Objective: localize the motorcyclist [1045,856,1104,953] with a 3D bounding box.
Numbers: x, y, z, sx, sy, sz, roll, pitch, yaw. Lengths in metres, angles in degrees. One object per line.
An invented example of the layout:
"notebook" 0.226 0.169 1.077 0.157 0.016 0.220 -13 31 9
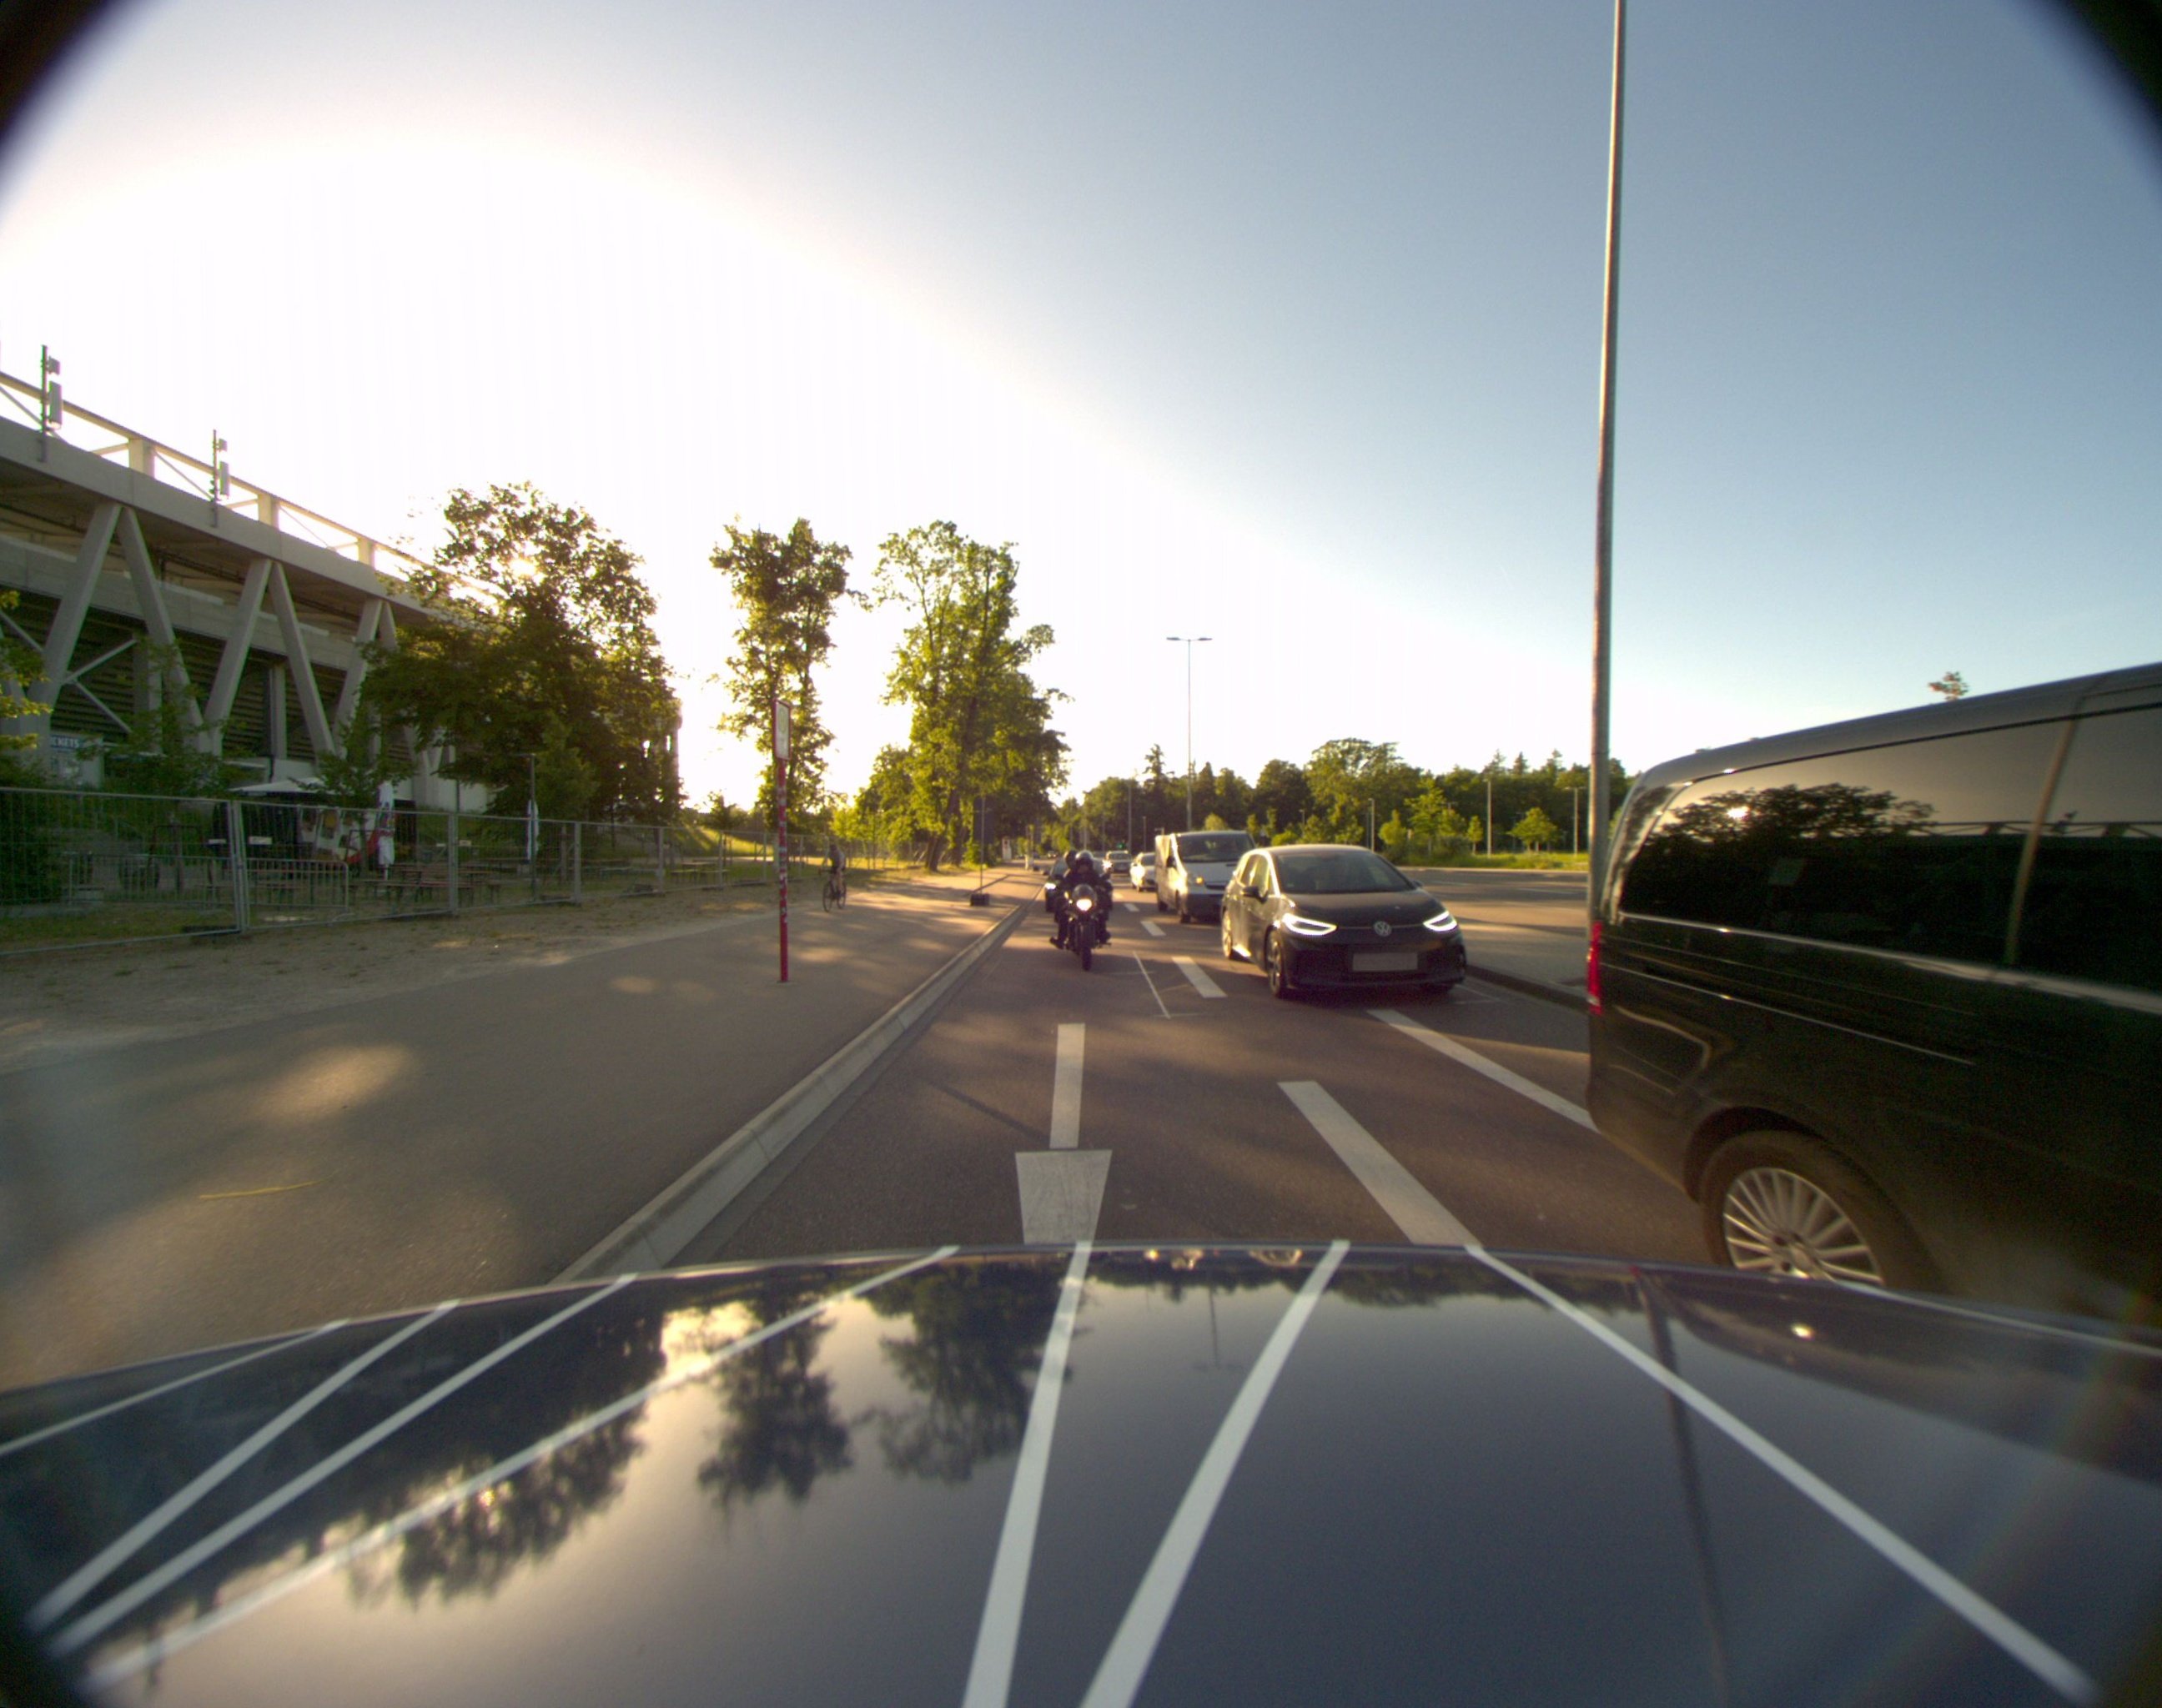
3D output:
"motorcyclist" -0.093 0.725 11.092 0.822 1.367 0.476 -1 1 0

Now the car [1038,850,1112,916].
"car" -0.178 0.766 22.371 1.883 1.629 5.048 -3 0 -1

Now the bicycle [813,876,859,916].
"bicycle" -5.975 1.007 18.621 0.481 0.854 1.909 0 1 1

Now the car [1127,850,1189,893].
"car" 2.998 0.646 30.576 1.883 1.515 5.048 -3 0 -1

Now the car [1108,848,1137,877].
"car" 2.577 0.477 48.023 1.638 1.674 3.999 -3 1 1

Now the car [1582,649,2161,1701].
"car" 2.808 0.513 0.355 1.912 1.845 4.874 -3 -1 1

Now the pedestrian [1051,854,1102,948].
"pedestrian" -0.066 0.704 11.613 0.739 1.387 0.500 -1 1 0

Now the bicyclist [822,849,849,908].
"bicyclist" -5.973 0.583 18.512 0.451 1.412 0.575 0 1 1

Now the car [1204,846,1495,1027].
"car" 2.738 0.717 8.810 1.883 1.528 3.999 -3 1 -1

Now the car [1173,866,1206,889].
"car" 7.624 1.609 53.604 1.604 1.388 3.842 -3 1 -2

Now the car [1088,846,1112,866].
"car" 1.602 0.166 66.008 1.883 1.629 5.048 -3 0 -1

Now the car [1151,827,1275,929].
"car" 2.871 0.478 17.689 1.883 1.951 5.048 -3 0 -1

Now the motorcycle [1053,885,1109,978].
"motorcycle" 0.009 1.052 11.084 0.717 1.058 2.721 0 1 1
